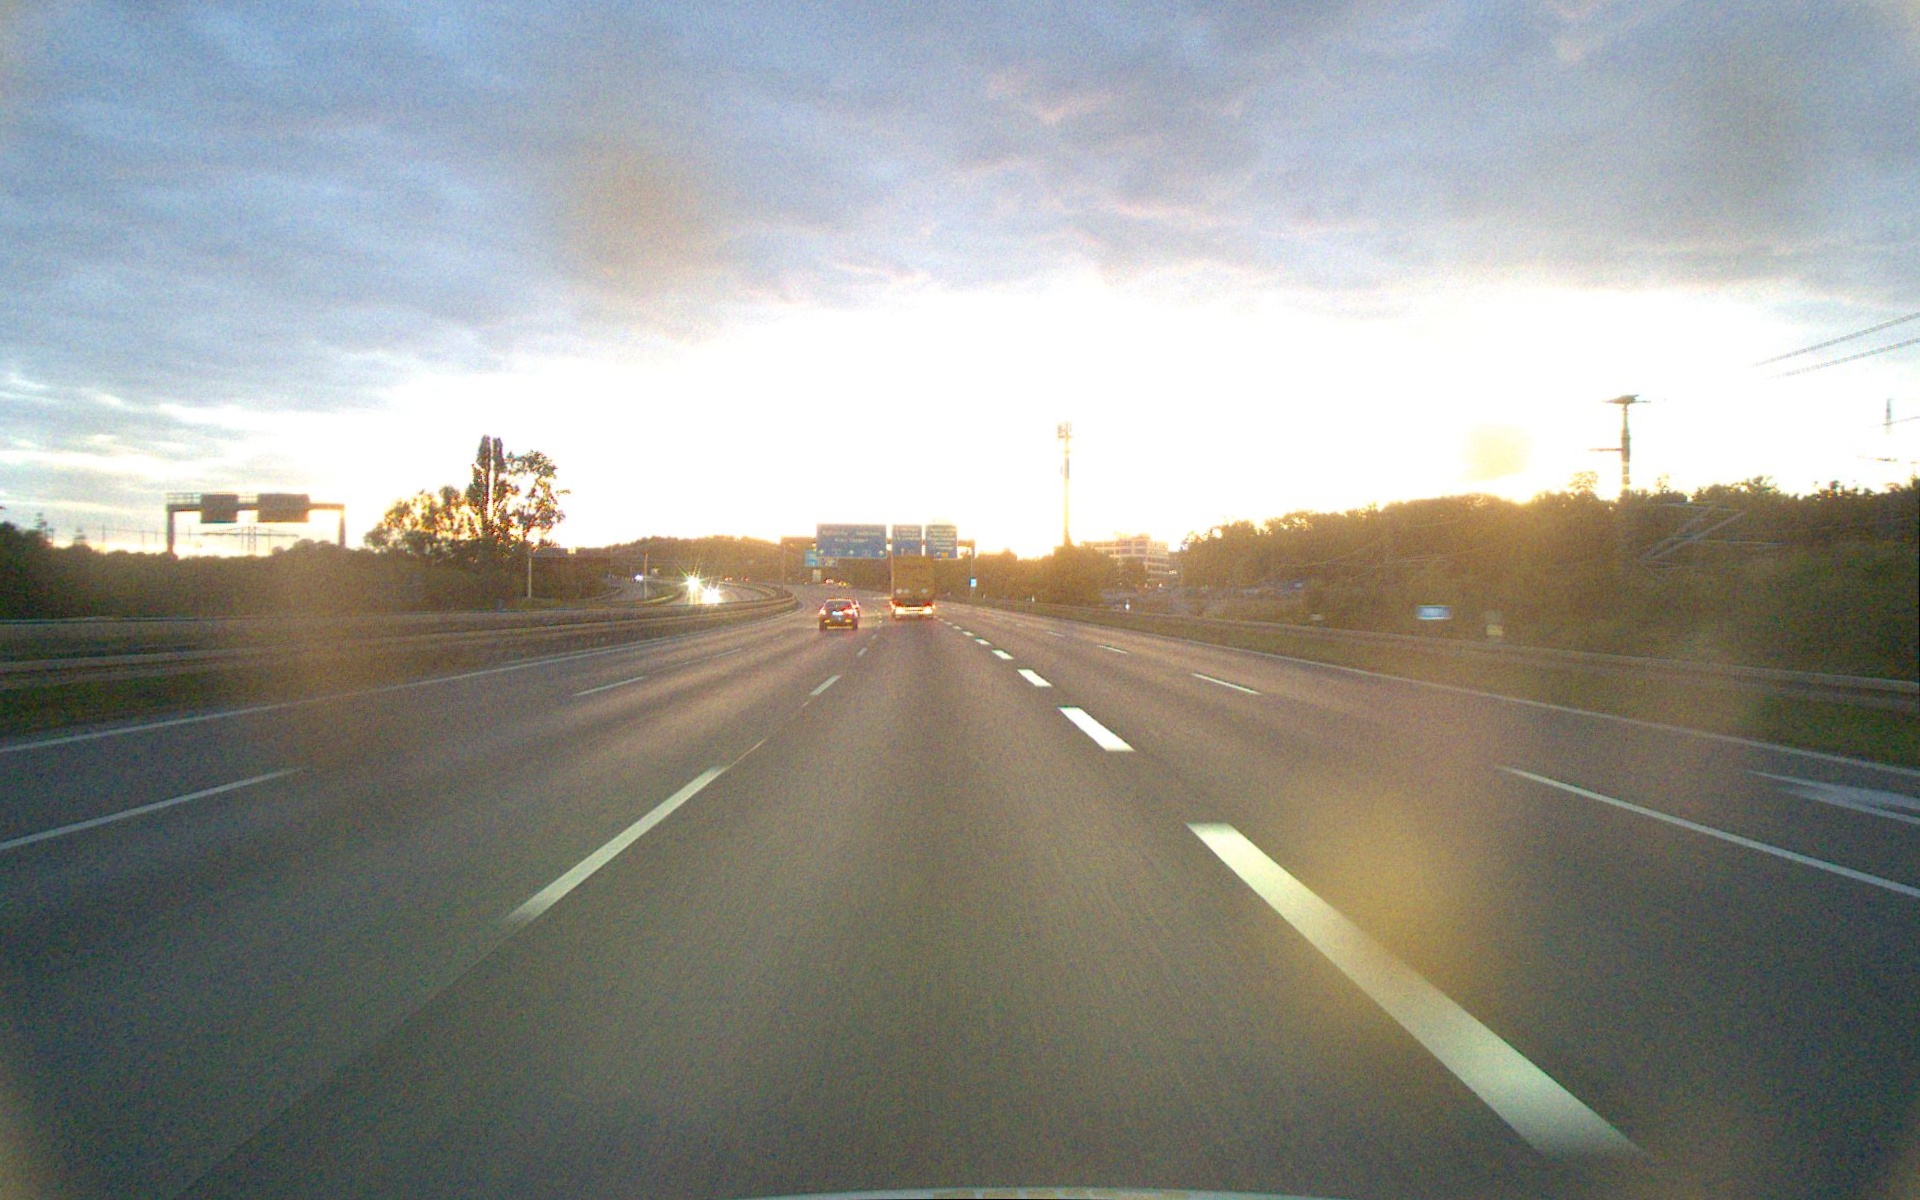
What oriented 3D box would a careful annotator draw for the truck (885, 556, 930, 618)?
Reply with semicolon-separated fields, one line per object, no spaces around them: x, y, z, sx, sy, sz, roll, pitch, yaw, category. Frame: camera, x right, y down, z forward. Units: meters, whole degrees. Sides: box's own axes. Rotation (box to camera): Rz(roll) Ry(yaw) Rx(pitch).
-3.796;-0.968;116.573;2.637;4.142;10.511;-1;1;-4;truck

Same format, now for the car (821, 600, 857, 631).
-5.863;0.755;79.928;1.656;1.426;3.405;-1;0;-5;car

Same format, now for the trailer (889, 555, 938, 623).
-3.064;-0.759;106.945;2.668;4.142;8.823;-1;1;-4;trailer

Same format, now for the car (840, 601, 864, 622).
-7.732;0.803;118.625;1.656;1.426;3.407;-2;-1;-2;car
